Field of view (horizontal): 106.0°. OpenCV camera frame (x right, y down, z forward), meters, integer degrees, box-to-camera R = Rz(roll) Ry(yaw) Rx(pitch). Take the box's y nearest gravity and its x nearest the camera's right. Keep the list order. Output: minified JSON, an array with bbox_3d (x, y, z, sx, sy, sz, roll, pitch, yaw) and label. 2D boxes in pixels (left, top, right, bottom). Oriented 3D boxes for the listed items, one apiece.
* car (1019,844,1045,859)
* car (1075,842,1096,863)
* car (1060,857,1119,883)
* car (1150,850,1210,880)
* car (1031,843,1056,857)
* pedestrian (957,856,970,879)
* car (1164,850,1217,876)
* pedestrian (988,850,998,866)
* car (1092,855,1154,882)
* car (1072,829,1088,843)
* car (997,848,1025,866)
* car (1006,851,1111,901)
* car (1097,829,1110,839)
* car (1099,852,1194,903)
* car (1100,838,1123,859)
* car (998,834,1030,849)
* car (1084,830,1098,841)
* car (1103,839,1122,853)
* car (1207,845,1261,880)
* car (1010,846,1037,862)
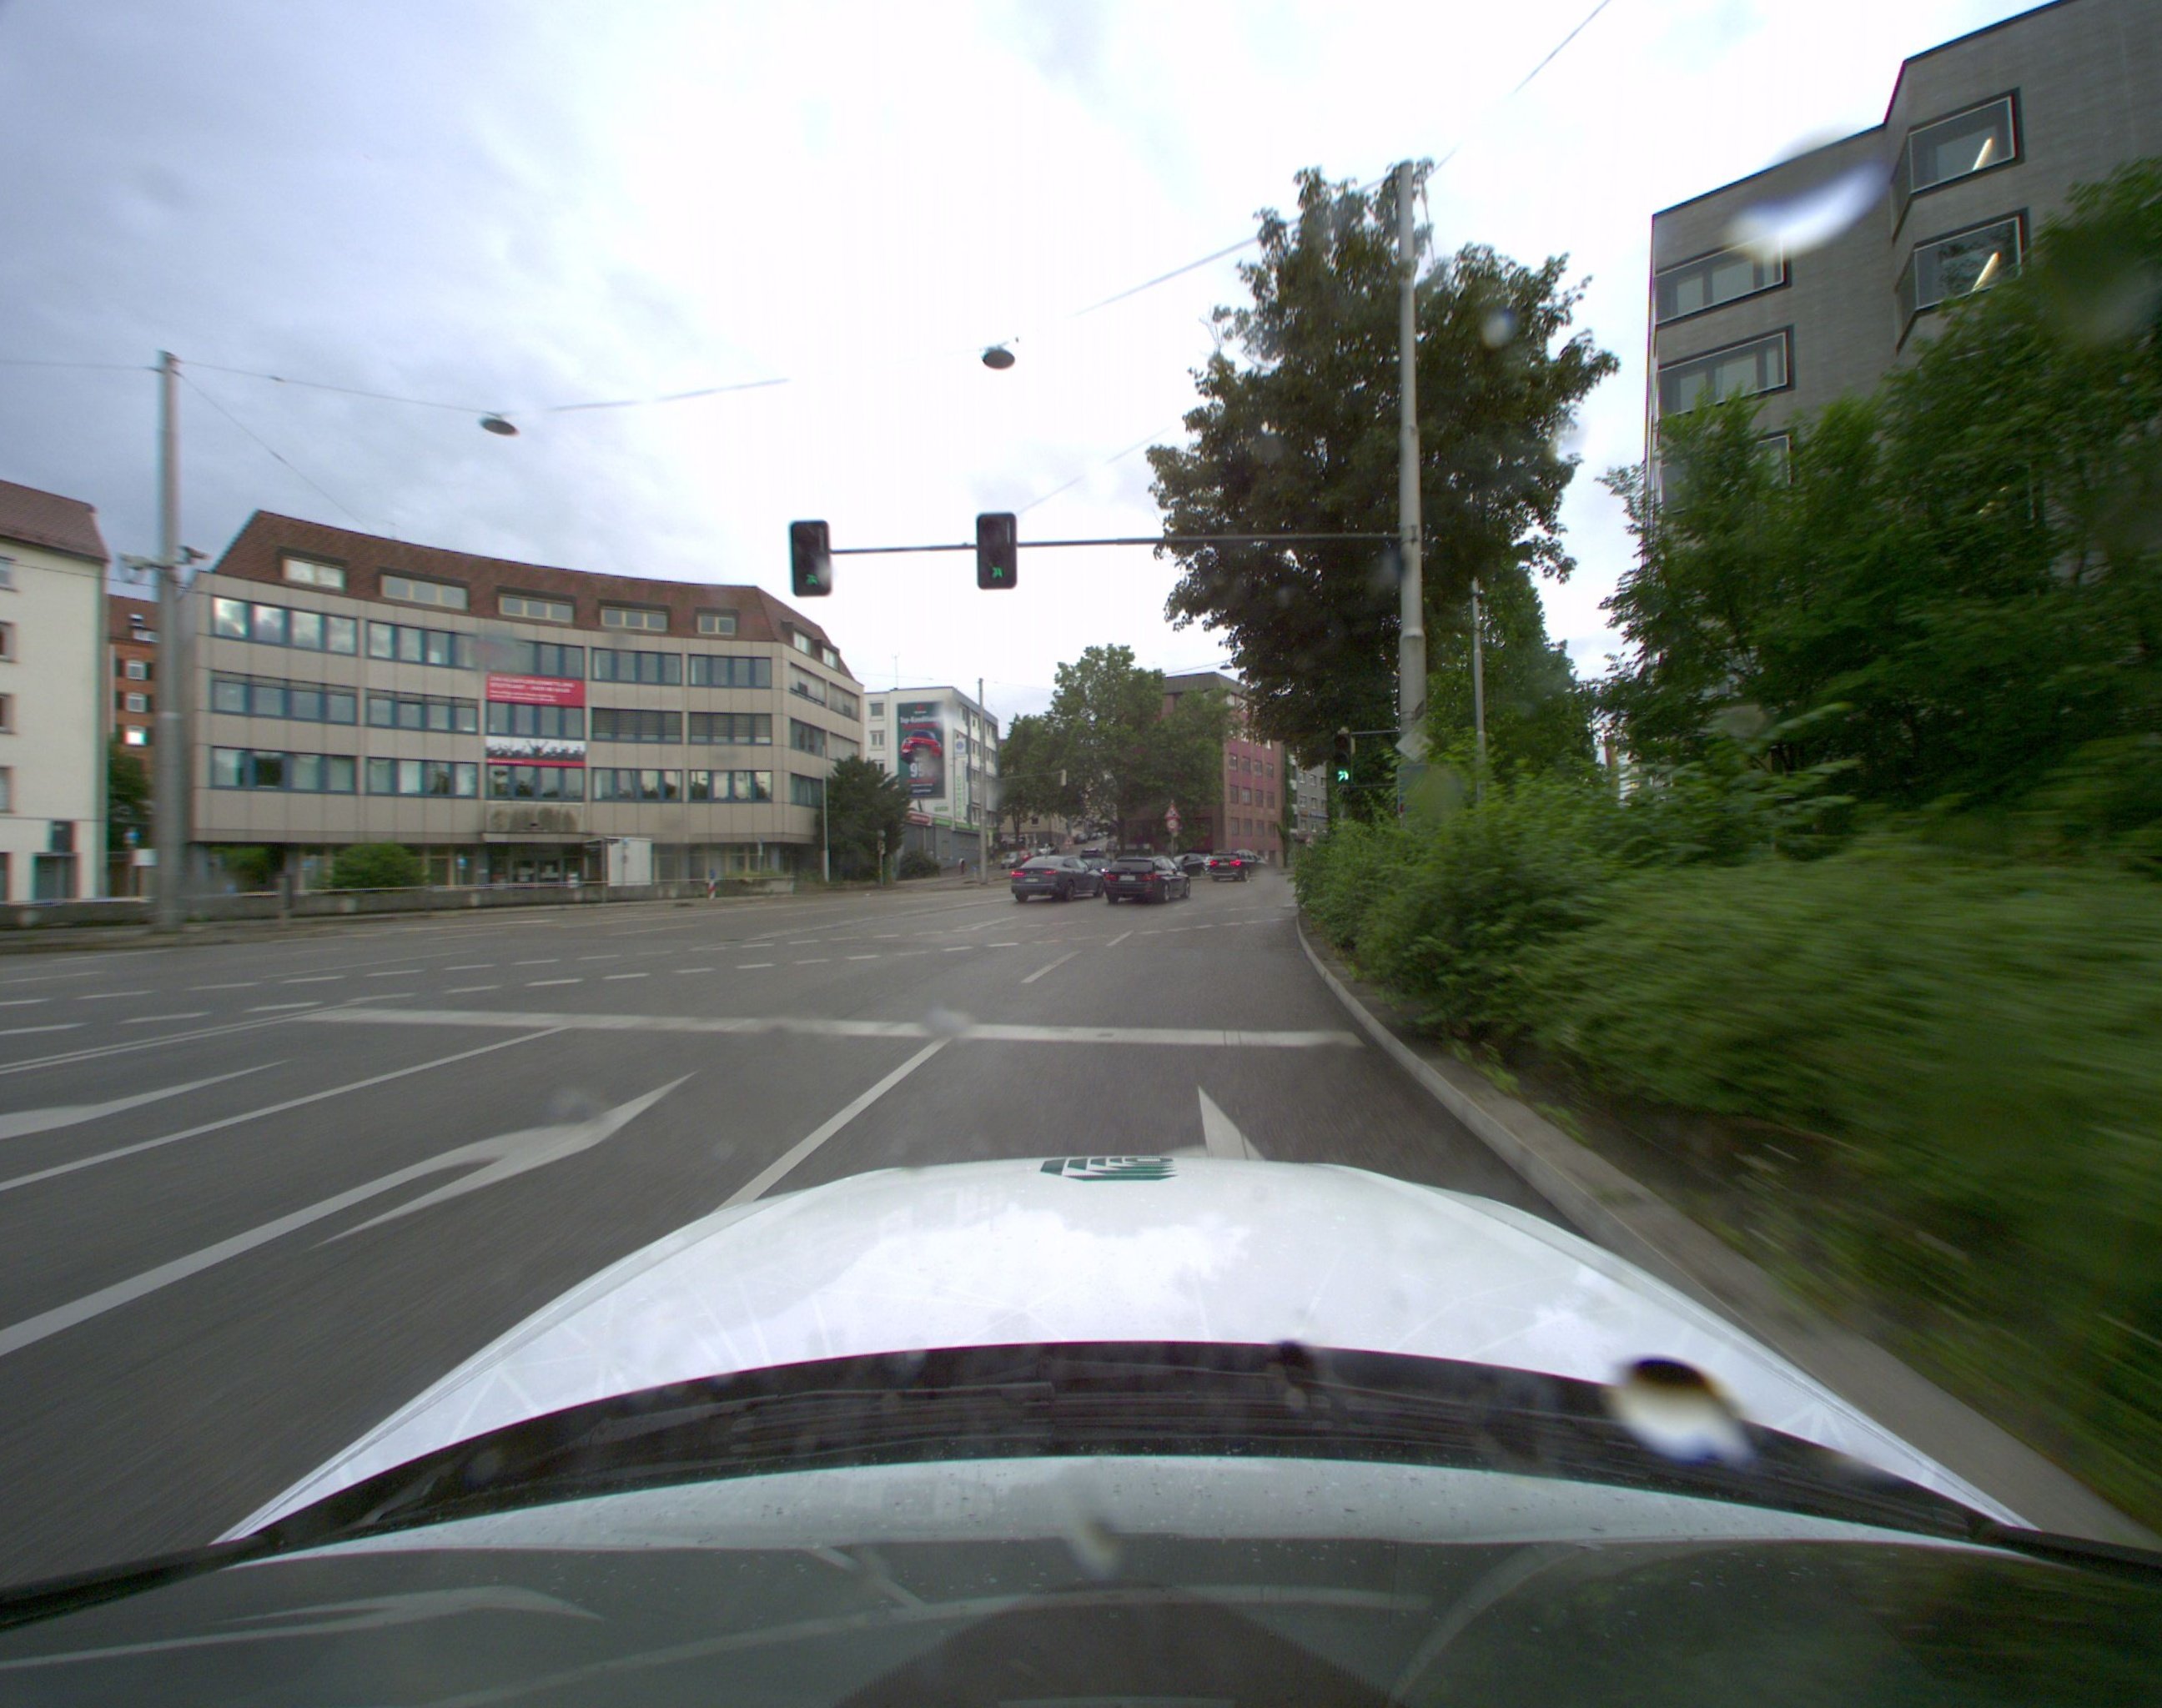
[{"bbox_3d":[-5.665,-0.275,94.066,1.820,1.430,4.087,-2,3,14],"label":"car"},{"bbox_3d":[0.484,-0.170,81.446,1.923,1.867,4.005,0,3,3],"label":"car"},{"bbox_3d":[0.591,1.002,51.167,1.745,1.512,4.147,-3,-2,31],"label":"car"},{"bbox_3d":[5.929,0.610,48.295,1.836,1.622,4.620,-4,-2,29],"label":"car"},{"bbox_3d":[-4.538,-0.492,98.775,1.820,1.430,4.087,-2,3,14],"label":"car"},{"bbox_3d":[-10.684,1.246,74.240,0.834,2.014,0.984,-2,-2,8],"label":"pedestrian"},{"bbox_3d":[7.590,0.620,56.078,1.749,1.682,4.620,-3,-2,34],"label":"car"},{"bbox_3d":[-9.340,0.426,86.470,0.834,1.717,0.984,-2,-2,8],"label":"pedestrian"},{"bbox_3d":[2.553,0.846,48.687,1.800,1.512,4.259,-3,-2,31],"label":"car"},{"bbox_3d":[-0.088,-2.873,128.794,1.983,2.014,4.007,-2,-1,7],"label":"car"},{"bbox_3d":[-7.182,0.308,84.111,1.822,1.462,4.189,-3,3,9],"label":"car"},{"bbox_3d":[-0.612,0.678,26.365,1.775,1.426,4.407,-2,-1,21],"label":"car"},{"bbox_3d":[4.419,-3.862,157.880,1.983,1.842,4.009,-2,3,7],"label":"car"},{"bbox_3d":[2.146,0.667,25.445,1.776,1.426,4.636,-1,0,20],"label":"car"},{"bbox_3d":[3.350,-0.632,88.256,1.919,1.867,4.012,-2,4,9],"label":"car"},{"bbox_3d":[-9.762,-1.775,118.965,4.397,2.006,2.002,-2,-1,4],"label":"car"},{"bbox_3d":[1.752,-3.240,142.564,1.983,1.842,4.009,-2,3,7],"label":"car"},{"bbox_3d":[4.043,-1.014,104.896,1.919,1.674,4.011,-2,2,9],"label":"car"},{"bbox_3d":[8.210,0.442,43.401,1.883,1.693,4.022,-3,-1,24],"label":"car"},{"bbox_3d":[-6.283,-0.056,89.620,1.821,1.430,4.084,-2,3,11],"label":"car"}]
